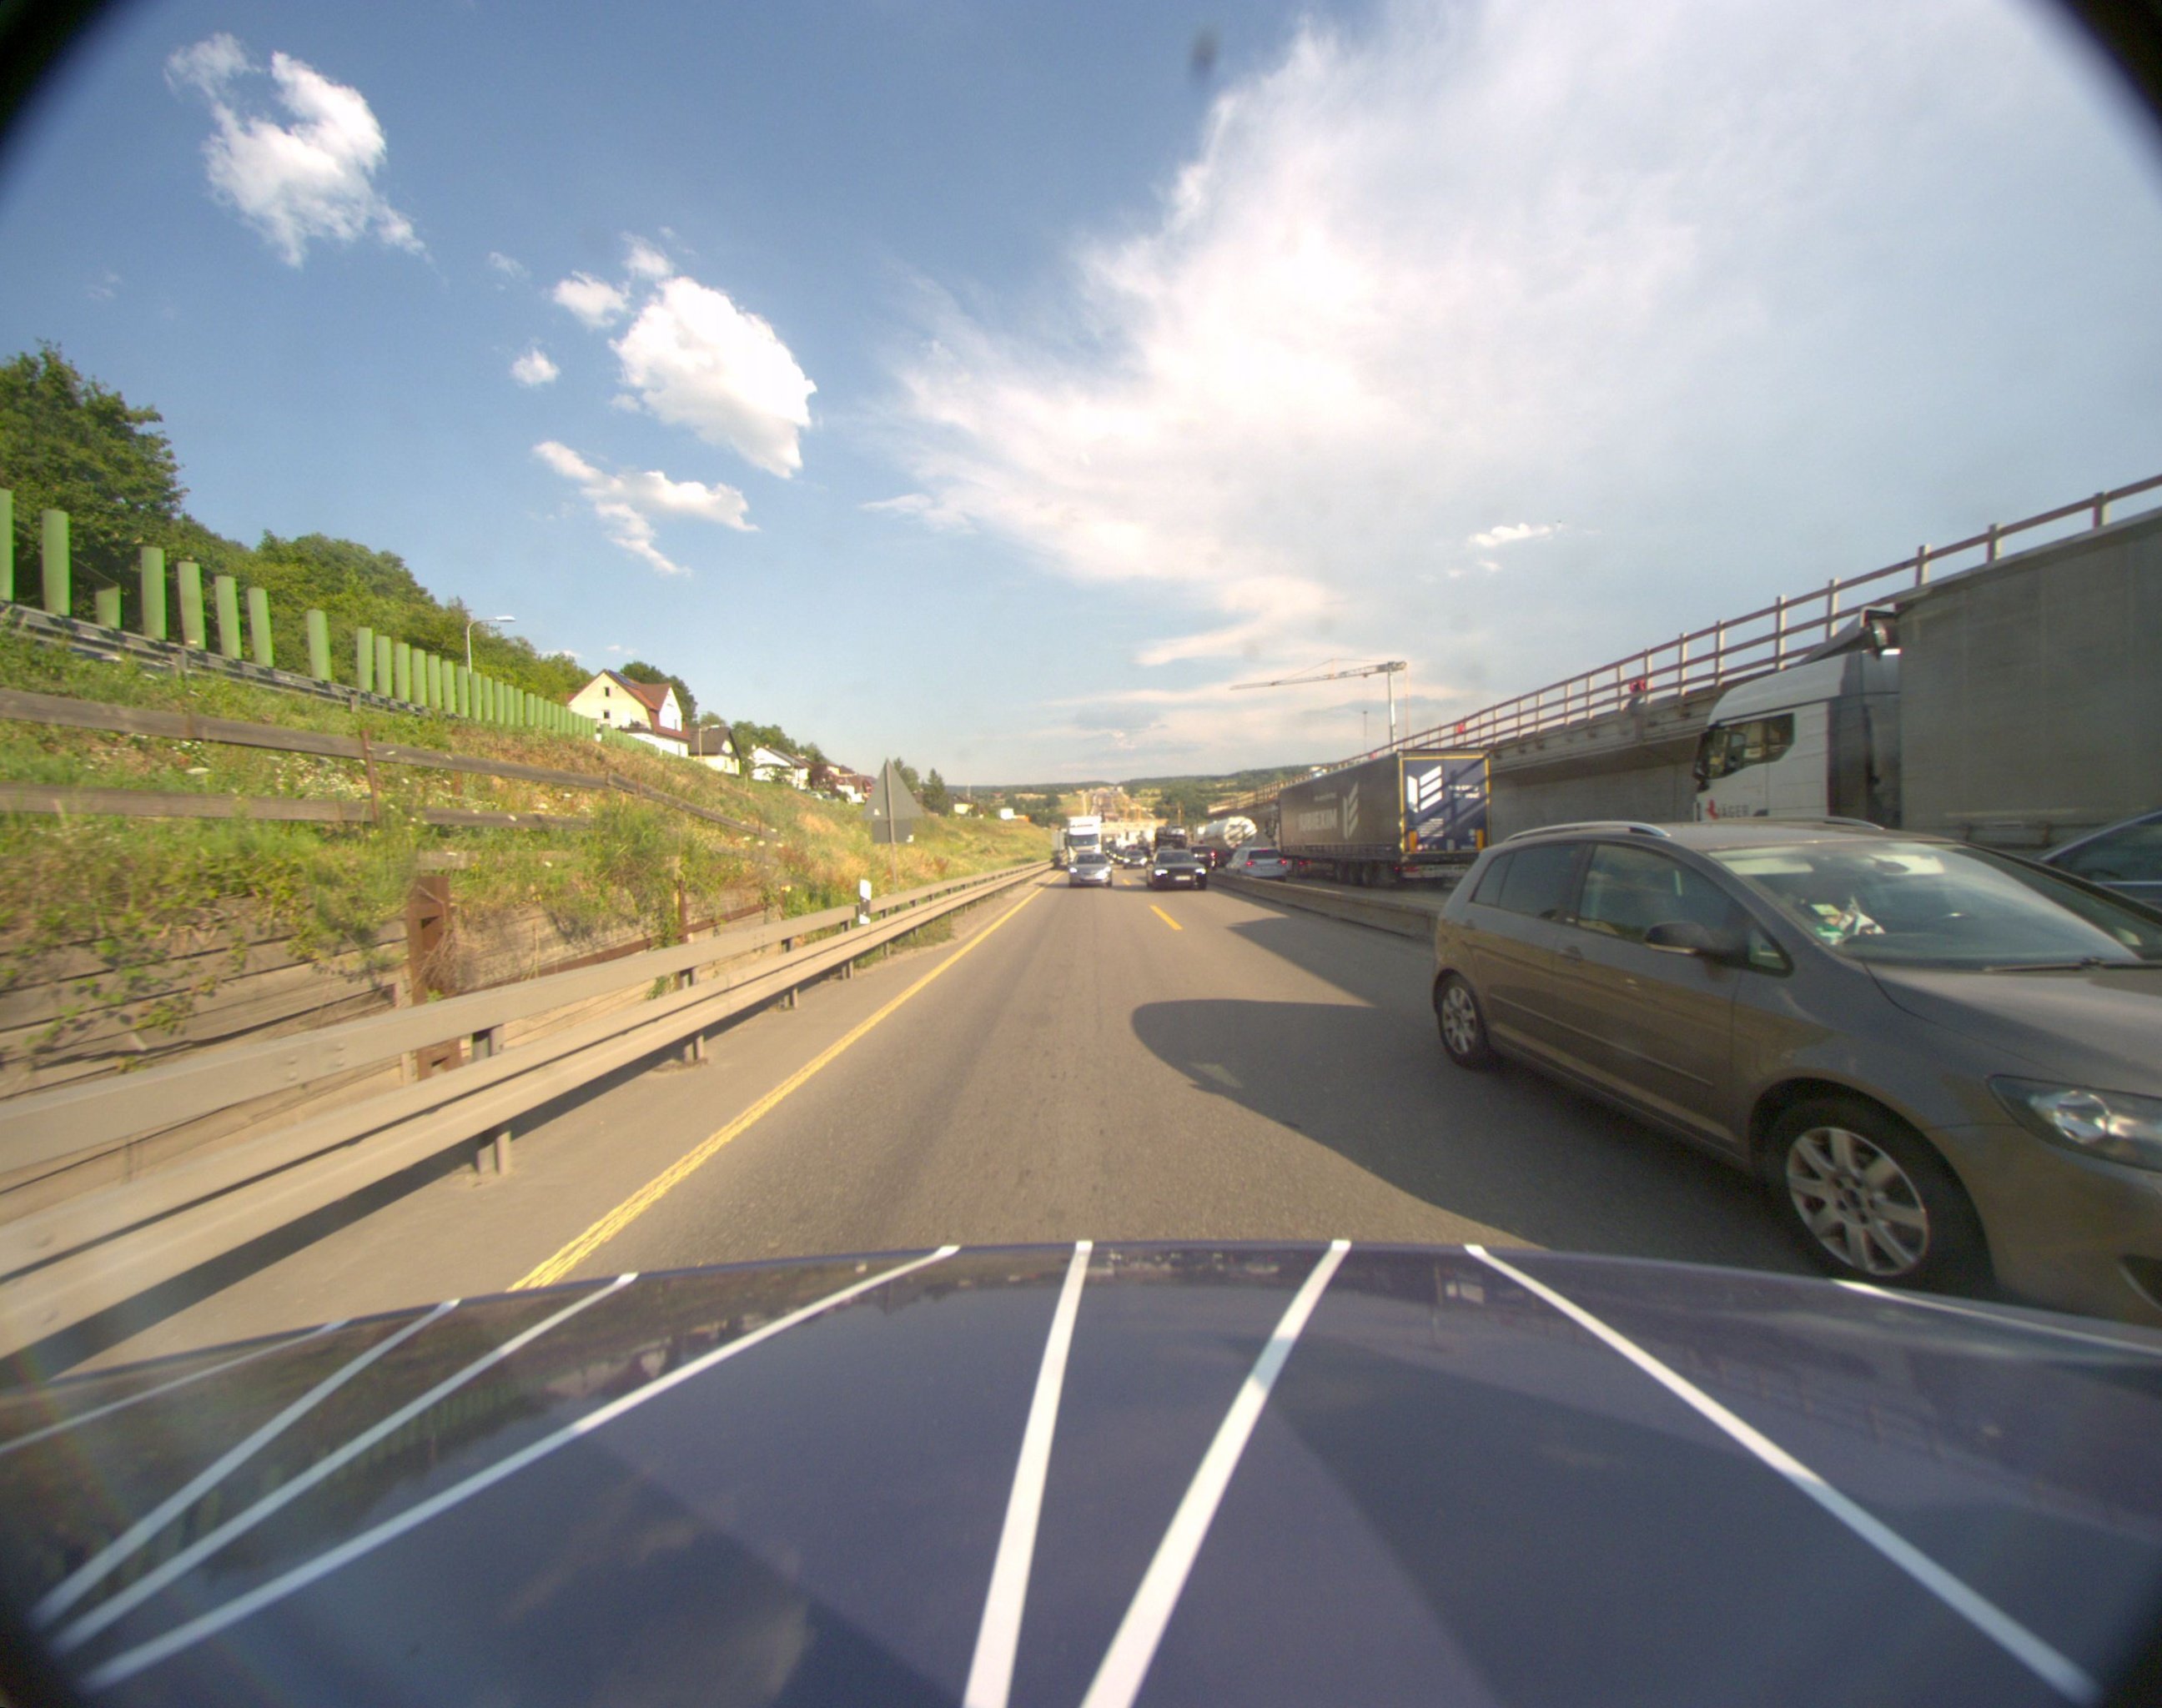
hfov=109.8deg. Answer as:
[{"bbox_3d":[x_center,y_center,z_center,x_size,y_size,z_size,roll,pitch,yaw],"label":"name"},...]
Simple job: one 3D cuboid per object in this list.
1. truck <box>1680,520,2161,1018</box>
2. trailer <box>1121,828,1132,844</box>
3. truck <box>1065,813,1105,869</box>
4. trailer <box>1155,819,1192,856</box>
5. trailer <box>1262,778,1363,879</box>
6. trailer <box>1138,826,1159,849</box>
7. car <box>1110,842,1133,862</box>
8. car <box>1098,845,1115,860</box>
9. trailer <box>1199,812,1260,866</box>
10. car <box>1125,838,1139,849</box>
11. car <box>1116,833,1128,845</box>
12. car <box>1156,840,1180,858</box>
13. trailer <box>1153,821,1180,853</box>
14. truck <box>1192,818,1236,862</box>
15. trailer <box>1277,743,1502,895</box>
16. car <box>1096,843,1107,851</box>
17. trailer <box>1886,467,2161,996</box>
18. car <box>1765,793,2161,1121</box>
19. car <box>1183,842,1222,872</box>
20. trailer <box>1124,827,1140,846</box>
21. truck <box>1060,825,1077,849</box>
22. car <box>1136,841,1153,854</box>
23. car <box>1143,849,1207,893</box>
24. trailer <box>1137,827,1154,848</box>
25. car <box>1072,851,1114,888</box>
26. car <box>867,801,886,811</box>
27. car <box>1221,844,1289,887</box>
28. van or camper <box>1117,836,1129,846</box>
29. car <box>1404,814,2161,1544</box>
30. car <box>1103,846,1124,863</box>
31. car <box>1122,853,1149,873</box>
[{"bbox_3d":[10.106,-0.767,8.162,2.867,3.985,5.656,-2,2,0],"label":"truck"},{"bbox_3d":[13.082,-5.199,219.402,2.834,4.259,8.733,-2,1,1],"label":"trailer"},{"bbox_3d":[0.450,-1.115,61.904,2.741,4.034,12.668,-2,1,1],"label":"truck"},{"bbox_3d":[11.250,-2.076,94.122,2.778,4.008,15.760,-2,1,1],"label":"trailer"},{"bbox_3d":[10.404,-1.087,34.751,2.771,4.117,5.976,-2,0,1],"label":"trailer"},{"bbox_3d":[12.038,-2.920,136.416,2.659,3.829,13.439,-2,1,0],"label":"trailer"},{"bbox_3d":[3.785,-0.195,71.636,1.998,1.740,3.999,-1,1,0],"label":"car"},{"bbox_3d":[3.082,-0.161,91.540,1.918,1.746,3.999,-1,0,0],"label":"car"},{"bbox_3d":[10.777,-1.122,56.299,2.563,3.507,10.679,-2,1,1],"label":"trailer"},{"bbox_3d":[7.673,-1.550,114.546,1.761,1.569,4.338,-2,1,1],"label":"car"},{"bbox_3d":[9.071,-3.330,169.232,1.999,2.608,7.407,-2,1,-2],"label":"car"},{"bbox_3d":[8.017,-0.503,70.308,1.730,1.548,4.296,-2,0,0],"label":"car"},{"bbox_3d":[11.385,-2.261,101.583,2.778,4.008,7.206,-2,2,1],"label":"trailer"},{"bbox_3d":[10.859,-1.187,62.521,2.555,3.390,5.530,-2,2,0],"label":"truck"},{"bbox_3d":[10.346,-0.989,28.045,2.771,4.117,14.025,-2,0,1],"label":"trailer"},{"bbox_3d":[4.313,-1.495,160.247,1.998,1.696,3.999,-2,1,0],"label":"car"},{"bbox_3d":[10.078,-0.901,1.277,2.920,4.216,13.765,-2,1,0],"label":"trailer"},{"bbox_3d":[6.681,0.524,3.829,1.827,1.762,5.138,-2,1,0],"label":"car"},{"bbox_3d":[7.530,0.135,47.449,1.645,1.635,4.687,-2,1,0],"label":"car"},{"bbox_3d":[12.087,-4.160,180.192,2.932,4.014,13.771,-2,1,1],"label":"trailer"},{"bbox_3d":[-2.123,-2.944,132.887,2.547,3.993,6.070,-2,2,1],"label":"truck"},{"bbox_3d":[7.955,-0.803,95.894,1.770,1.543,4.835,-2,1,1],"label":"car"},{"bbox_3d":[3.405,0.573,28.252,1.873,1.411,4.348,-1,1,1],"label":"car"},{"bbox_3d":[12.102,-3.074,142.680,2.659,3.829,6.427,-2,2,0],"label":"trailer"},{"bbox_3d":[0.491,0.616,32.241,1.671,1.425,3.523,-1,1,1],"label":"car"},{"bbox_3d":[-33.472,-7.785,124.422,1.999,1.434,3.998,-2,1,-2],"label":"car"},{"bbox_3d":[6.814,0.392,30.257,1.645,1.451,4.595,-2,1,0],"label":"car"},{"bbox_3d":[8.444,-2.623,152.942,1.863,2.002,5.294,-2,1,0],"label":"van or camper"},{"bbox_3d":[3.203,0.716,3.446,1.685,1.579,4.272,0,0,1],"label":"car"},{"bbox_3d":[3.399,0.071,80.090,1.918,1.746,3.999,-1,0,0],"label":"car"},{"bbox_3d":[4.138,0.639,57.800,1.692,1.294,3.882,-2,1,-1],"label":"car"}]
